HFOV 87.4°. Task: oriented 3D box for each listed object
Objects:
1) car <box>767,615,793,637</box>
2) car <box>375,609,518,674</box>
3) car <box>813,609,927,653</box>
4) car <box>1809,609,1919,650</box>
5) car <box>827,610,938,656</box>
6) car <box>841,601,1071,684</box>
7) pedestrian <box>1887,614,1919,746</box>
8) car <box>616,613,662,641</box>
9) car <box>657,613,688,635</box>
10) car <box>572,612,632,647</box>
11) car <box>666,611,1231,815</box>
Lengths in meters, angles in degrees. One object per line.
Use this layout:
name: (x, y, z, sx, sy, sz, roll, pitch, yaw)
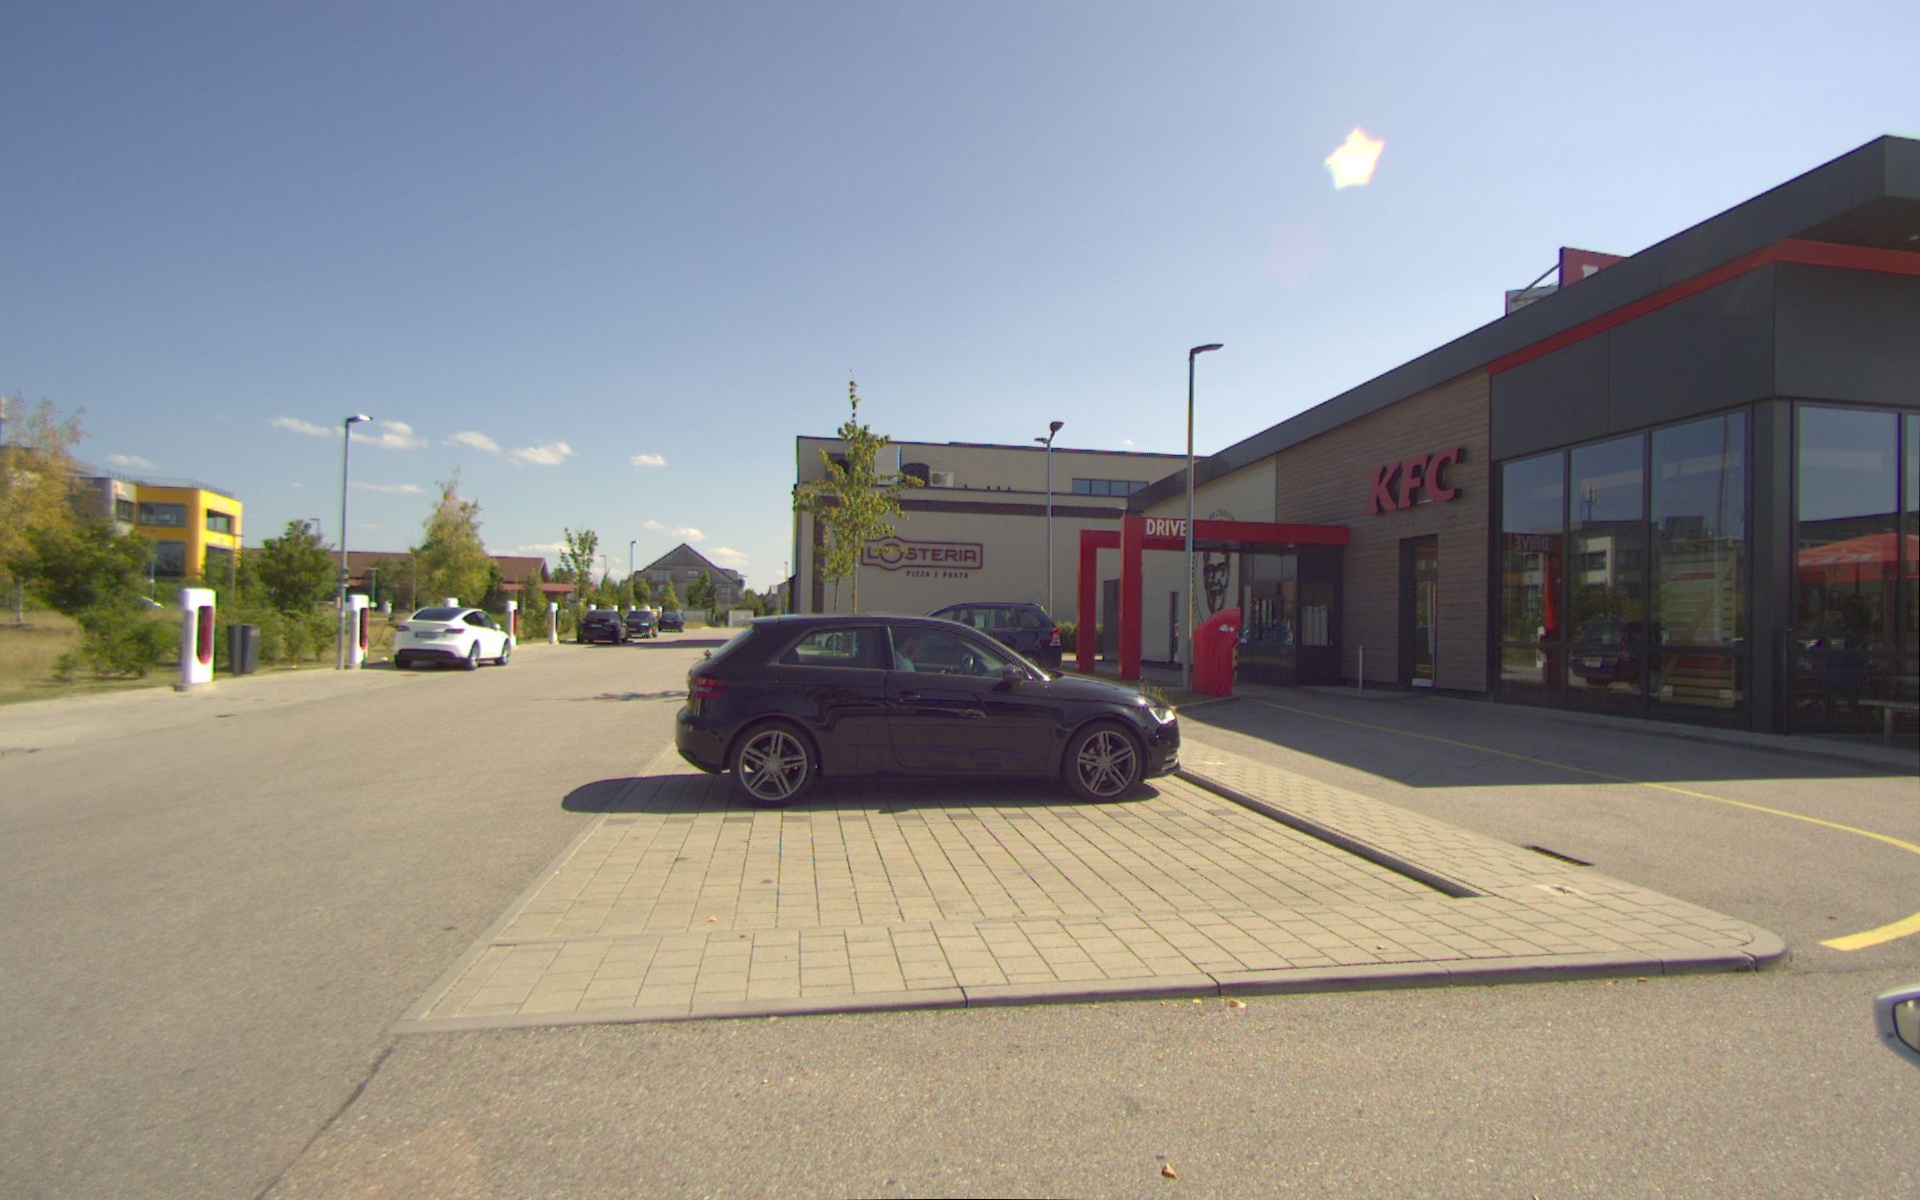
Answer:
car: (-14.199, 2.042, 79.278, 1.618, 1.588, 3.671, 1, 0, -16)
car: (-13.819, 1.072, 27.360, 2.178, 1.546, 4.425, 3, -1, -10)
car: (-3.612, 1.241, 40.027, 4.368, 1.630, 1.785, 1, 0, -12)
car: (41.551, 1.337, 45.651, 4.246, 1.725, 1.896, 2, -1, 2)
car: (-2.936, 1.228, 37.616, 3.929, 1.630, 1.785, 1, 0, -12)
car: (-0.145, 0.860, 20.839, 4.471, 1.590, 1.995, 1, -1, -12)
pedestrian: (10.993, 0.894, 11.130, 0.681, 1.462, 0.796, 1, 0, -11)
car: (-19.095, 1.608, 59.833, 2.033, 1.528, 3.993, 3, -1, -10)
car: (-21.944, 1.804, 76.823, 1.780, 1.528, 3.993, 3, -1, -10)
car: (-17.283, 1.406, 48.604, 2.033, 1.528, 3.993, 3, -1, -10)
car: (-0.122, 0.852, 8.311, 4.238, 1.430, 1.726, 1, -1, -11)
